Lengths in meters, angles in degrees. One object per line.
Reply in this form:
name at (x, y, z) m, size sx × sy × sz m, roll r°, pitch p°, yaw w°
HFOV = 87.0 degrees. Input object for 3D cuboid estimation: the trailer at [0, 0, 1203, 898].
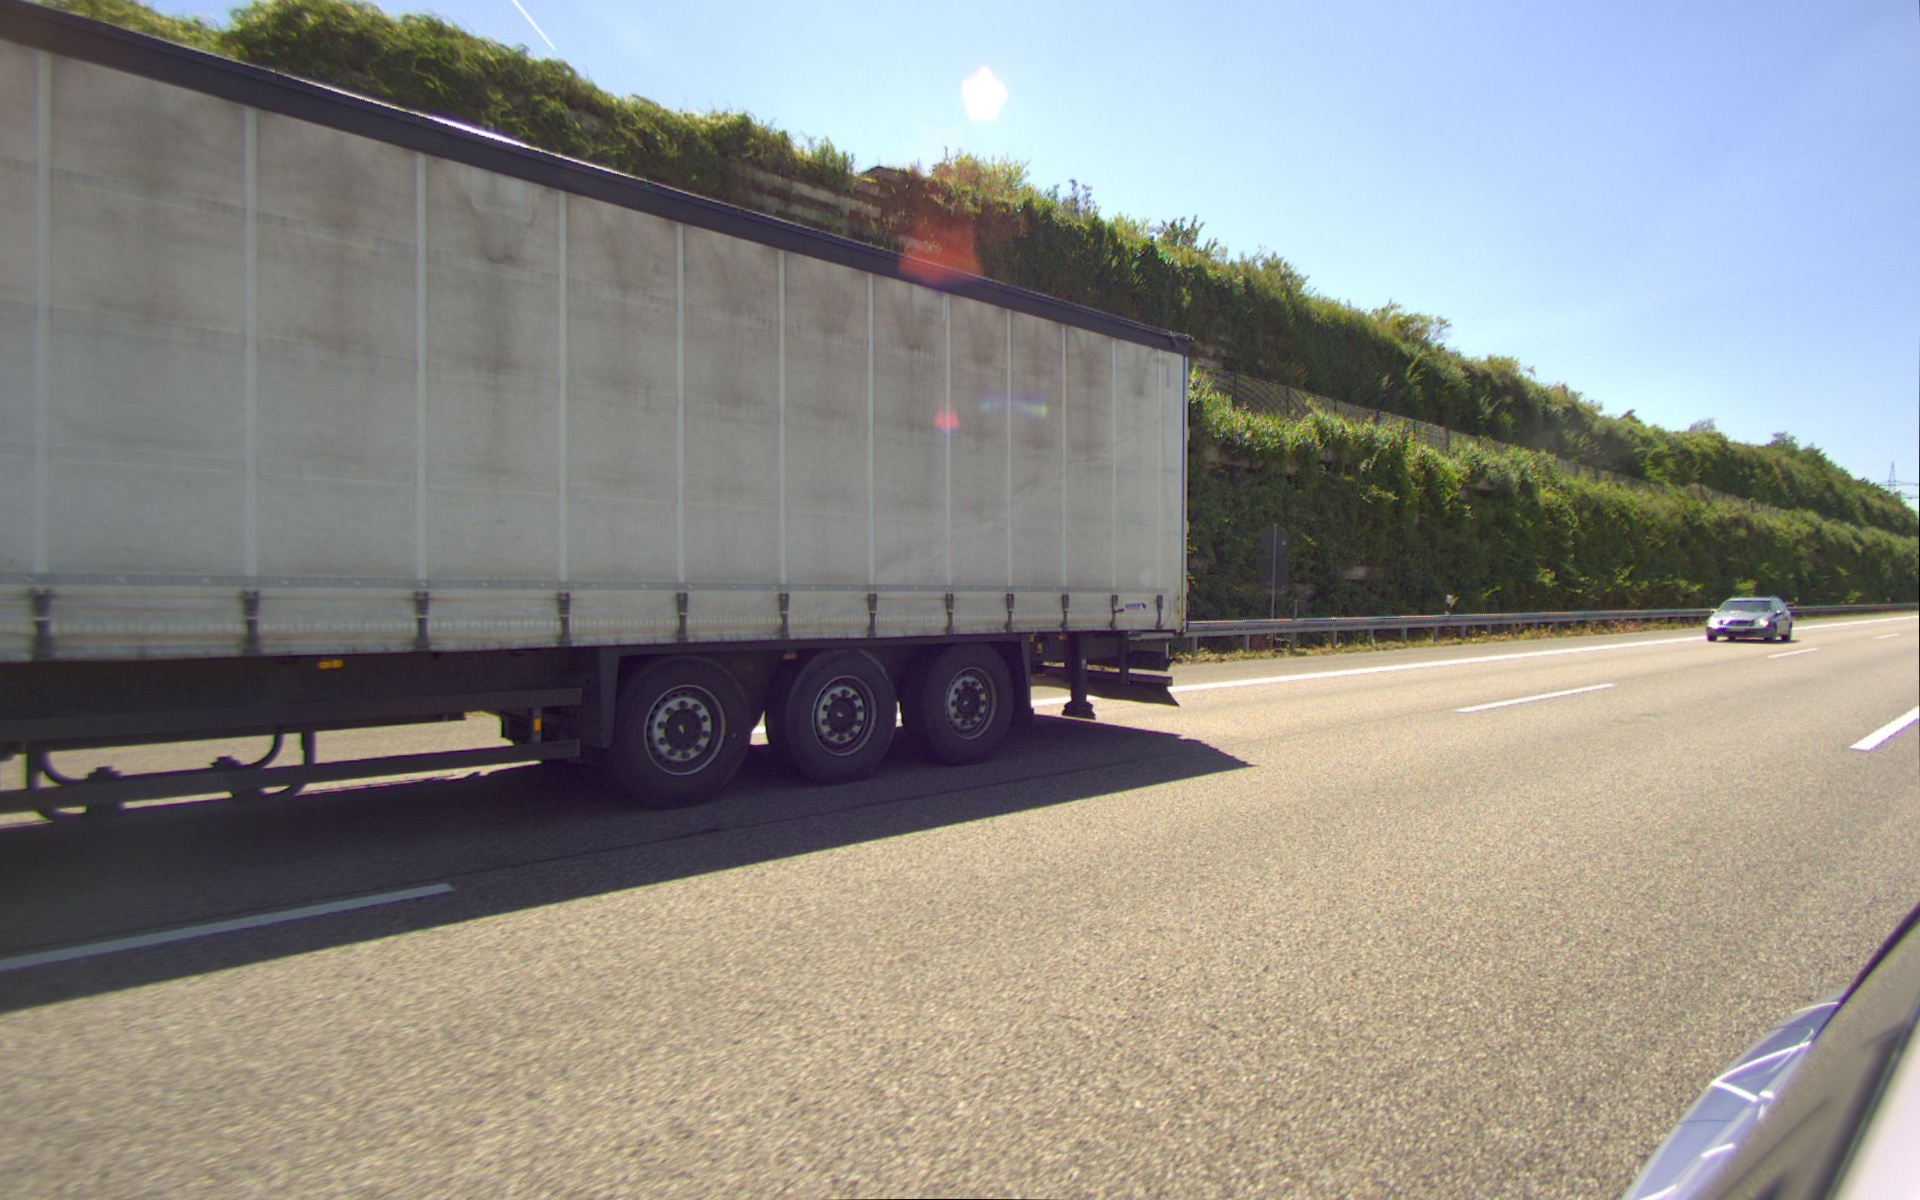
trailer at (-3.308, -0.834, 6.968) m, size 12.961 × 4.153 × 2.733 m, roll -1°, pitch 2°, yaw -42°

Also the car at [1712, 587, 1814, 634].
car at (26.109, 0.296, 32.864) m, size 4.479 × 1.429 × 1.838 m, roll 0°, pitch 1°, yaw -41°
